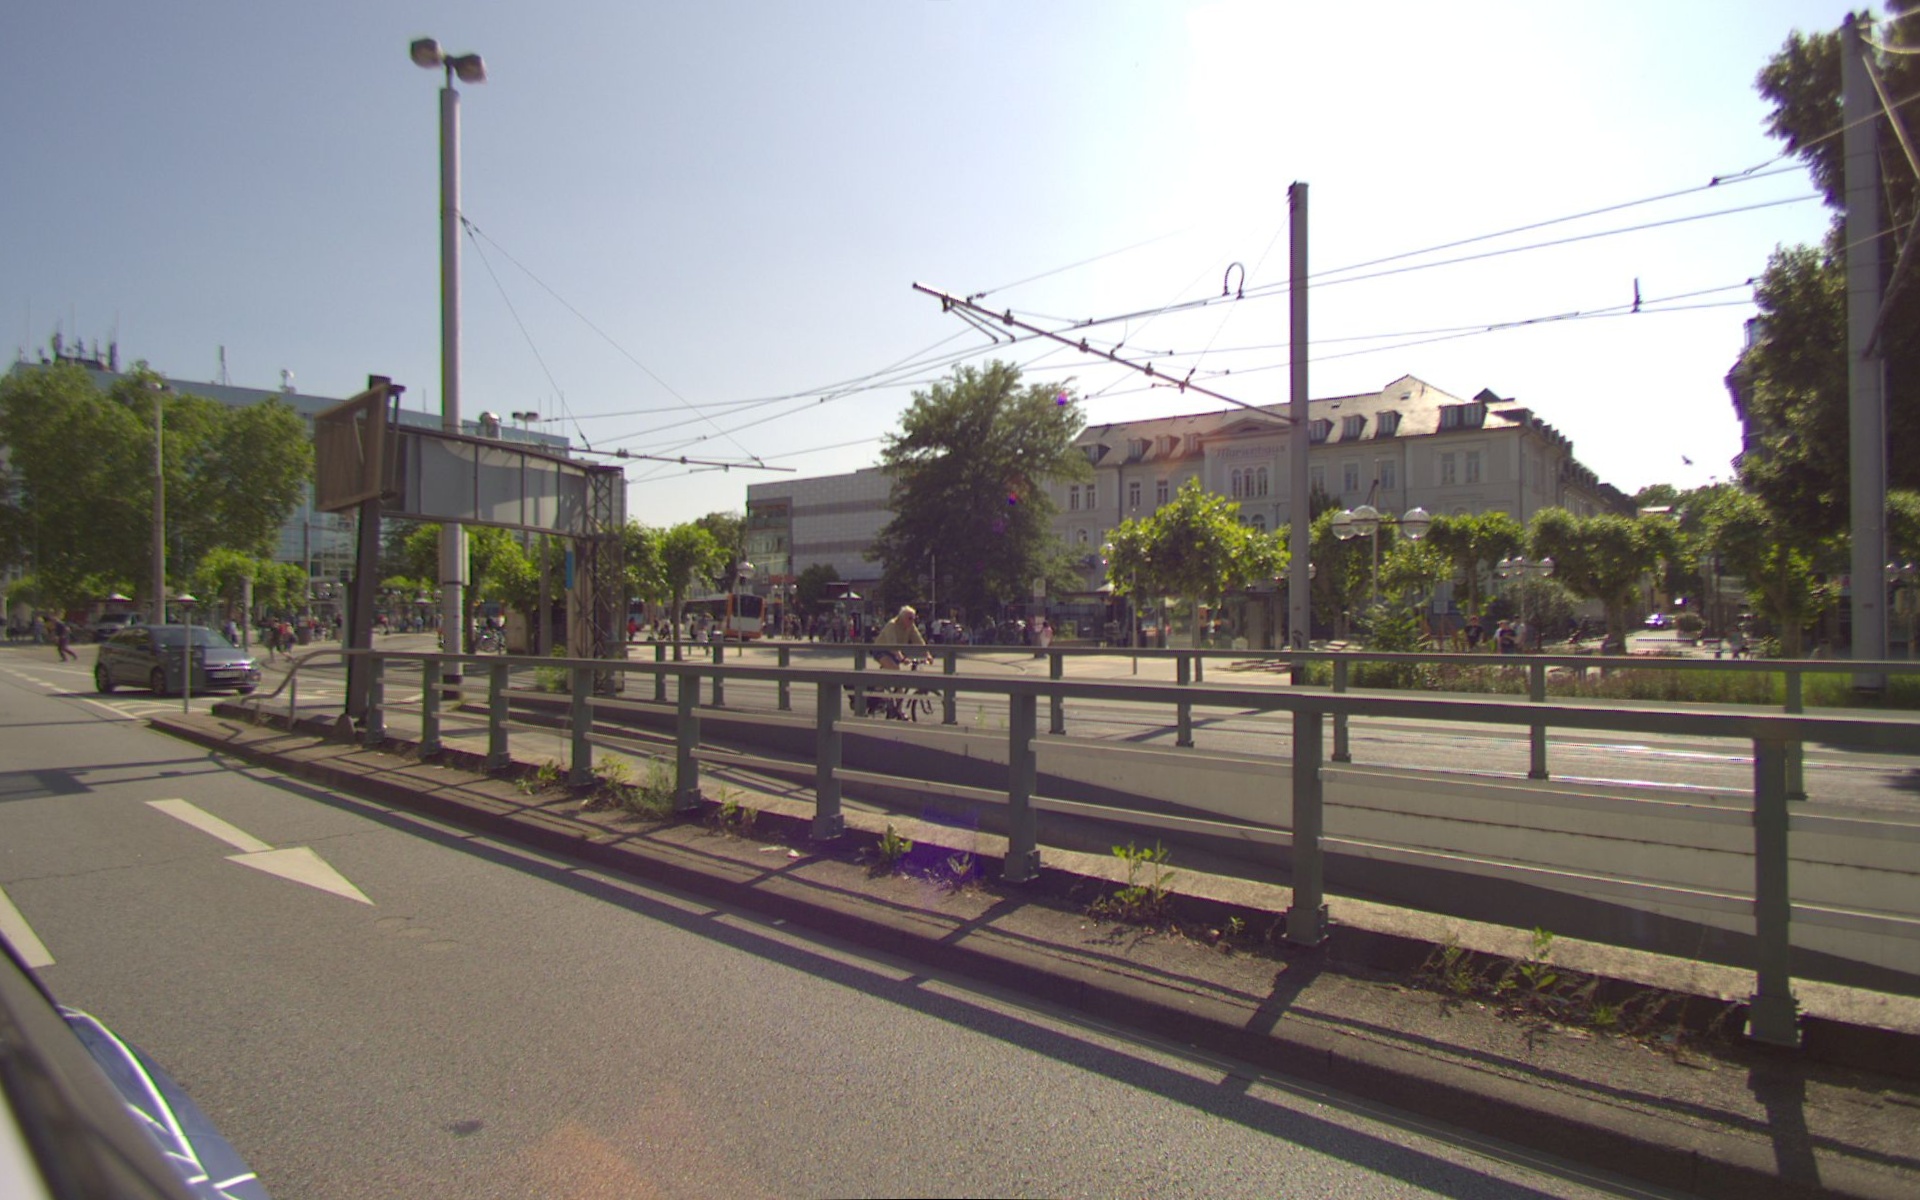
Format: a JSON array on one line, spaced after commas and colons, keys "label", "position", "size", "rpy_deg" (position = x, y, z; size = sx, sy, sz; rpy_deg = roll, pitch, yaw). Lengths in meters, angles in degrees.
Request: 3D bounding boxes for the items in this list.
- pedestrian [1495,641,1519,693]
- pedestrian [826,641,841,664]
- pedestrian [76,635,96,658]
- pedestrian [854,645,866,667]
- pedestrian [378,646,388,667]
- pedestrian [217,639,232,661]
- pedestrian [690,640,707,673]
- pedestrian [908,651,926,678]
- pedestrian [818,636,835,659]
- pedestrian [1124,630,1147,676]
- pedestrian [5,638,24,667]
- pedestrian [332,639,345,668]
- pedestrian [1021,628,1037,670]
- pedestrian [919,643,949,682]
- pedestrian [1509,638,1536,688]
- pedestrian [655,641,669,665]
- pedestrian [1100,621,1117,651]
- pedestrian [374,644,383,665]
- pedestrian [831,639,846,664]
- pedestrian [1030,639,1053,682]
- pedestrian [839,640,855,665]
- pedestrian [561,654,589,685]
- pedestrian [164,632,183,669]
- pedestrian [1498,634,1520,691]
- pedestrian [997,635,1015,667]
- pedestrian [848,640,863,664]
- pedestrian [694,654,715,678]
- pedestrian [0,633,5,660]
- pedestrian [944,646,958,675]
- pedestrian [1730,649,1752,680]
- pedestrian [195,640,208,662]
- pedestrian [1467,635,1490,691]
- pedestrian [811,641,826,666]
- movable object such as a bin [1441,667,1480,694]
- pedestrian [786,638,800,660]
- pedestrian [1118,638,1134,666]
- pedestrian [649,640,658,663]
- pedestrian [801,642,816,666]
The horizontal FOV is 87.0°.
[{"label": "pedestrian", "position": [17.567, 2.149, 32.511], "size": [0.618, 1.622, 0.488], "rpy_deg": [-2, -4, 31]}, {"label": "pedestrian", "position": [-8.030, 3.359, 64.397], "size": [0.679, 1.477, 0.617], "rpy_deg": [-2, -4, 36]}, {"label": "pedestrian", "position": [-57.559, 3.054, 66.649], "size": [0.780, 1.418, 0.744], "rpy_deg": [-1, 0, 31]}, {"label": "pedestrian", "position": [-5.882, 3.286, 59.545], "size": [0.511, 1.273, 0.453], "rpy_deg": [4, -5, -44]}, {"label": "pedestrian", "position": [-43.862, 4.273, 76.940], "size": [0.448, 1.561, 0.474], "rpy_deg": [0, -4, 14]}, {"label": "pedestrian", "position": [-60.695, 4.142, 83.483], "size": [0.780, 1.760, 0.744], "rpy_deg": [-1, 0, 31]}, {"label": "pedestrian", "position": [-12.709, 2.746, 49.168], "size": [0.549, 1.620, 0.600], "rpy_deg": [-3, -5, 44]}, {"label": "pedestrian", "position": [-2.101, 3.132, 49.202], "size": [0.613, 1.273, 0.583], "rpy_deg": [4, -5, -40]}, {"label": "pedestrian", "position": [-8.617, 3.075, 65.178], "size": [0.741, 1.477, 0.780], "rpy_deg": [-2, -4, 36]}, {"label": "pedestrian", "position": [7.676, 2.316, 44.290], "size": [0.621, 2.023, 0.736], "rpy_deg": [3, -4, -44]}, {"label": "pedestrian", "position": [-56.899, 3.128, 60.927], "size": [0.640, 1.704, 0.637], "rpy_deg": [-1, 0, 28]}, {"label": "pedestrian", "position": [-39.238, 3.377, 63.911], "size": [0.605, 1.829, 0.570], "rpy_deg": [-2, -2, 41]}, {"label": "pedestrian", "position": [3.365, 2.406, 49.402], "size": [0.627, 2.023, 0.542], "rpy_deg": [0, -3, 19]}, {"label": "pedestrian", "position": [-1.231, 2.970, 48.199], "size": [0.953, 1.807, 1.082], "rpy_deg": [4, -5, -40]}, {"label": "pedestrian", "position": [17.314, 1.930, 31.137], "size": [0.659, 1.504, 0.520], "rpy_deg": [-2, -4, 33]}, {"label": "pedestrian", "position": [-19.022, 3.378, 64.576], "size": [0.585, 1.477, 0.522], "rpy_deg": [-1, -4, 22]}, {"label": "pedestrian", "position": [7.006, 1.689, 47.676], "size": [0.598, 1.401, 0.562], "rpy_deg": [-2, -4, 40]}, {"label": "pedestrian", "position": [-43.840, 4.099, 76.297], "size": [0.467, 1.561, 0.493], "rpy_deg": [2, -4, -24]}, {"label": "pedestrian", "position": [-7.406, 3.140, 61.727], "size": [0.679, 1.477, 0.617], "rpy_deg": [-2, -4, 36]}, {"label": "pedestrian", "position": [3.326, 2.466, 41.314], "size": [0.705, 1.719, 0.670], "rpy_deg": [-2, -4, 40]}, {"label": "pedestrian", "position": [-6.766, 3.150, 60.459], "size": [0.616, 1.477, 0.681], "rpy_deg": [4, -5, -44]}, {"label": "pedestrian", "position": [-14.868, 2.668, 39.080], "size": [0.751, 1.180, 0.669], "rpy_deg": [-2, -4, 35]}, {"label": "pedestrian", "position": [-44.752, 2.868, 57.599], "size": [0.563, 2.023, 0.686], "rpy_deg": [-1, -1, 32]}, {"label": "pedestrian", "position": [15.936, 1.814, 29.381], "size": [0.493, 1.622, 0.410], "rpy_deg": [-2, -4, 32]}, {"label": "pedestrian", "position": [2.331, 2.578, 50.990], "size": [0.616, 1.611, 0.735], "rpy_deg": [-1, -3, 29]}, {"label": "pedestrian", "position": [-6.334, 3.160, 61.388], "size": [0.679, 1.477, 0.617], "rpy_deg": [-2, -4, 36]}, {"label": "pedestrian", "position": [-10.793, 2.787, 42.797], "size": [0.580, 1.008, 0.627], "rpy_deg": [-3, -5, 44]}, {"label": "pedestrian", "position": [-63.442, 3.093, 66.624], "size": [0.666, 1.760, 0.742], "rpy_deg": [-1, 0, 40]}, {"label": "pedestrian", "position": [-0.390, 2.680, 45.093], "size": [0.479, 1.273, 0.400], "rpy_deg": [-1, -4, 23]}, {"label": "pedestrian", "position": [32.378, 2.690, 41.965], "size": [0.525, 1.273, 0.574], "rpy_deg": [-1, -4, 20]}, {"label": "pedestrian", "position": [-61.070, 4.079, 81.489], "size": [0.629, 1.706, 0.754], "rpy_deg": [-2, 0, -26]}, {"label": "pedestrian", "position": [15.262, 1.843, 29.779], "size": [0.465, 1.622, 0.447], "rpy_deg": [-3, -5, 41]}, {"label": "pedestrian", "position": [-8.691, 3.289, 62.118], "size": [0.679, 1.477, 0.617], "rpy_deg": [-2, -4, 36]}, {"label": "movable object such as a bin", "position": [14.371, 2.302, 29.046], "size": [0.800, 0.760, 0.897], "rpy_deg": [-2, -5, 41]}, {"label": "pedestrian", "position": [-11.310, 3.316, 68.577], "size": [0.681, 1.477, 0.616], "rpy_deg": [-3, -5, 44]}, {"label": "pedestrian", "position": [8.005, 2.509, 48.783], "size": [0.598, 1.369, 0.562], "rpy_deg": [-2, -4, 40]}, {"label": "pedestrian", "position": [-20.232, 3.382, 66.733], "size": [0.407, 1.477, 0.451], "rpy_deg": [0, -4, 6]}, {"label": "pedestrian", "position": [-9.391, 3.366, 62.881], "size": [0.679, 1.477, 0.617], "rpy_deg": [-2, -4, 38]}]
